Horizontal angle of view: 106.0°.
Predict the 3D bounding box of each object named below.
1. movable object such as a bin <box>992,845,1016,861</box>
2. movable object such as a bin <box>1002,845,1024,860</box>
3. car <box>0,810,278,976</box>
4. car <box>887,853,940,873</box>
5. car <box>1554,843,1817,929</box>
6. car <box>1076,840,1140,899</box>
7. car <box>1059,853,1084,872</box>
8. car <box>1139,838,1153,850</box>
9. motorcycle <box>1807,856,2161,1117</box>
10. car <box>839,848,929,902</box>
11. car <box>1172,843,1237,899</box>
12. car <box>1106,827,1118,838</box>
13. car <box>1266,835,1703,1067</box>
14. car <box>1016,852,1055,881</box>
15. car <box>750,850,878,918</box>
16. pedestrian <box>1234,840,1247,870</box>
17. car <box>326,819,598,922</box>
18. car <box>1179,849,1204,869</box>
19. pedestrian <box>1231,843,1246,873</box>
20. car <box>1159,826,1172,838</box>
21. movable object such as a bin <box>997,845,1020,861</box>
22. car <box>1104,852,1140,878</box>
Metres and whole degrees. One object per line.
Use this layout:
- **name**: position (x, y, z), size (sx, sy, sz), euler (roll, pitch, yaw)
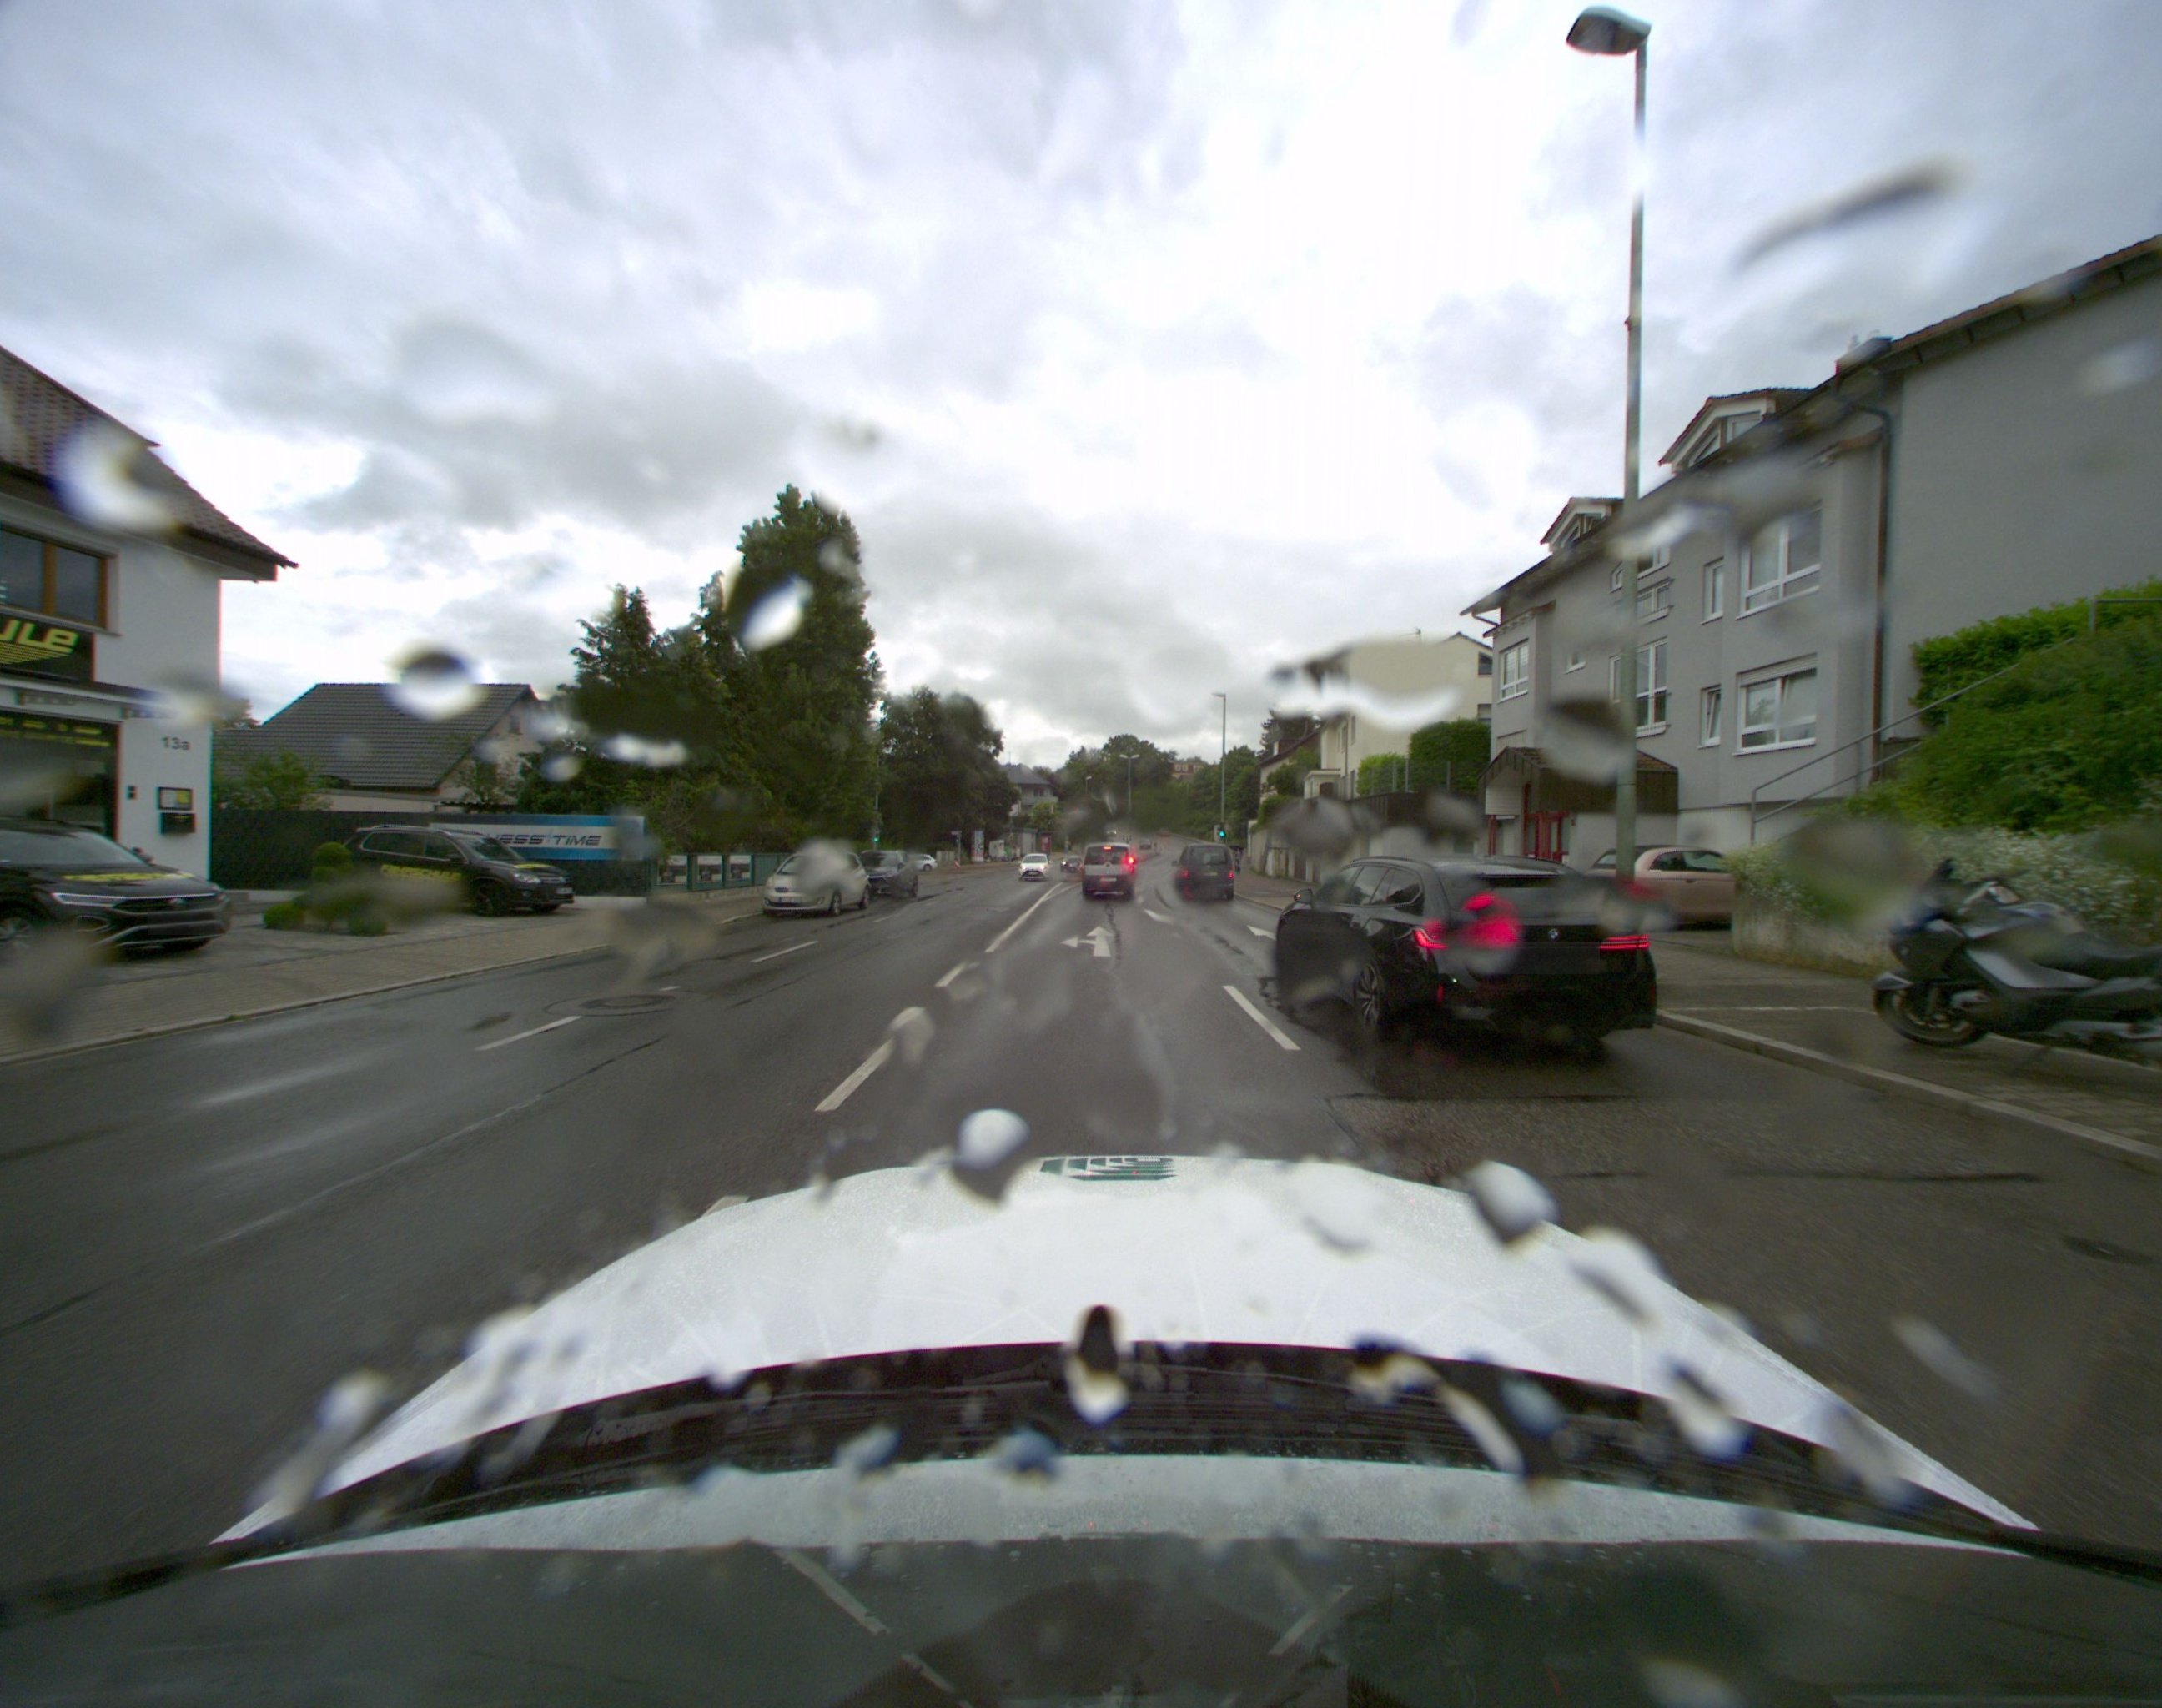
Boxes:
- **movable object such as a bin**: position (-8.242, -0.131, 87.215), size (2.043, 1.568, 1.587), euler (-1, 2, 13)
- **movable object such as a bin**: position (-7.563, -0.166, 90.232), size (2.043, 1.514, 1.349), euler (-1, 2, 12)
- **car**: position (-12.567, 0.361, 9.764), size (3.972, 1.564, 1.874), euler (5, 1, 2)
- **car**: position (-13.900, 0.723, 67.615), size (4.009, 1.530, 1.822), euler (-1, 0, -27)
- **car**: position (11.067, 0.550, 15.071), size (3.624, 1.485, 1.810), euler (0, 0, -4)
- **car**: position (1.042, 0.486, 28.570), size (1.942, 1.871, 4.753), euler (-1, 0, 5)
- **car**: position (-0.741, 0.641, 65.406), size (1.704, 1.502, 4.004), euler (0, 0, 3)
- **car**: position (9.660, -1.470, 121.183), size (1.984, 1.574, 4.005), euler (0, -1, 4)
- **motorcycle**: position (5.911, 0.688, 5.001), size (0.690, 1.325, 2.479), euler (-1, 0, 0)
- **car**: position (-6.573, 0.687, 27.671), size (1.798, 1.669, 4.600), euler (0, -1, 2)
- **car**: position (4.135, 0.532, 27.788), size (1.984, 1.748, 4.006), euler (-1, 0, 5)
- **car**: position (5.844, -4.044, 155.169), size (1.989, 2.013, 3.995), euler (-1, 0, -3)
- **car**: position (3.323, 0.653, 7.969), size (1.987, 1.586, 4.663), euler (1, 0, 0)
- **car**: position (-2.527, 0.689, 45.829), size (1.826, 1.530, 4.002), euler (-1, 0, 2)
- **car**: position (-6.723, 0.708, 20.981), size (1.798, 1.568, 4.144), euler (0, -1, 2)
- **pedestrian**: position (10.785, 0.076, 55.167), size (0.792, 2.013, 0.736), euler (0, 0, 7)
- **car**: position (-12.571, 0.315, 16.714), size (4.164, 1.720, 1.740), euler (4, 0, 2)
- **car**: position (10.130, 0.462, 74.739), size (1.844, 1.661, 4.003), euler (0, 2, 2)
- **pedestrian**: position (9.664, 0.245, 50.012), size (0.789, 1.780, 1.014), euler (-2, 0, 8)
- **car**: position (15.917, -4.131, 153.538), size (1.988, 2.013, 3.998), euler (-1, 0, -1)
- **movable object such as a bin**: position (-7.908, -0.118, 88.786), size (2.043, 1.568, 1.587), euler (-1, 2, 13)
- **car**: position (2.465, 0.638, 48.164), size (1.825, 1.487, 4.067), euler (0, 0, 8)
